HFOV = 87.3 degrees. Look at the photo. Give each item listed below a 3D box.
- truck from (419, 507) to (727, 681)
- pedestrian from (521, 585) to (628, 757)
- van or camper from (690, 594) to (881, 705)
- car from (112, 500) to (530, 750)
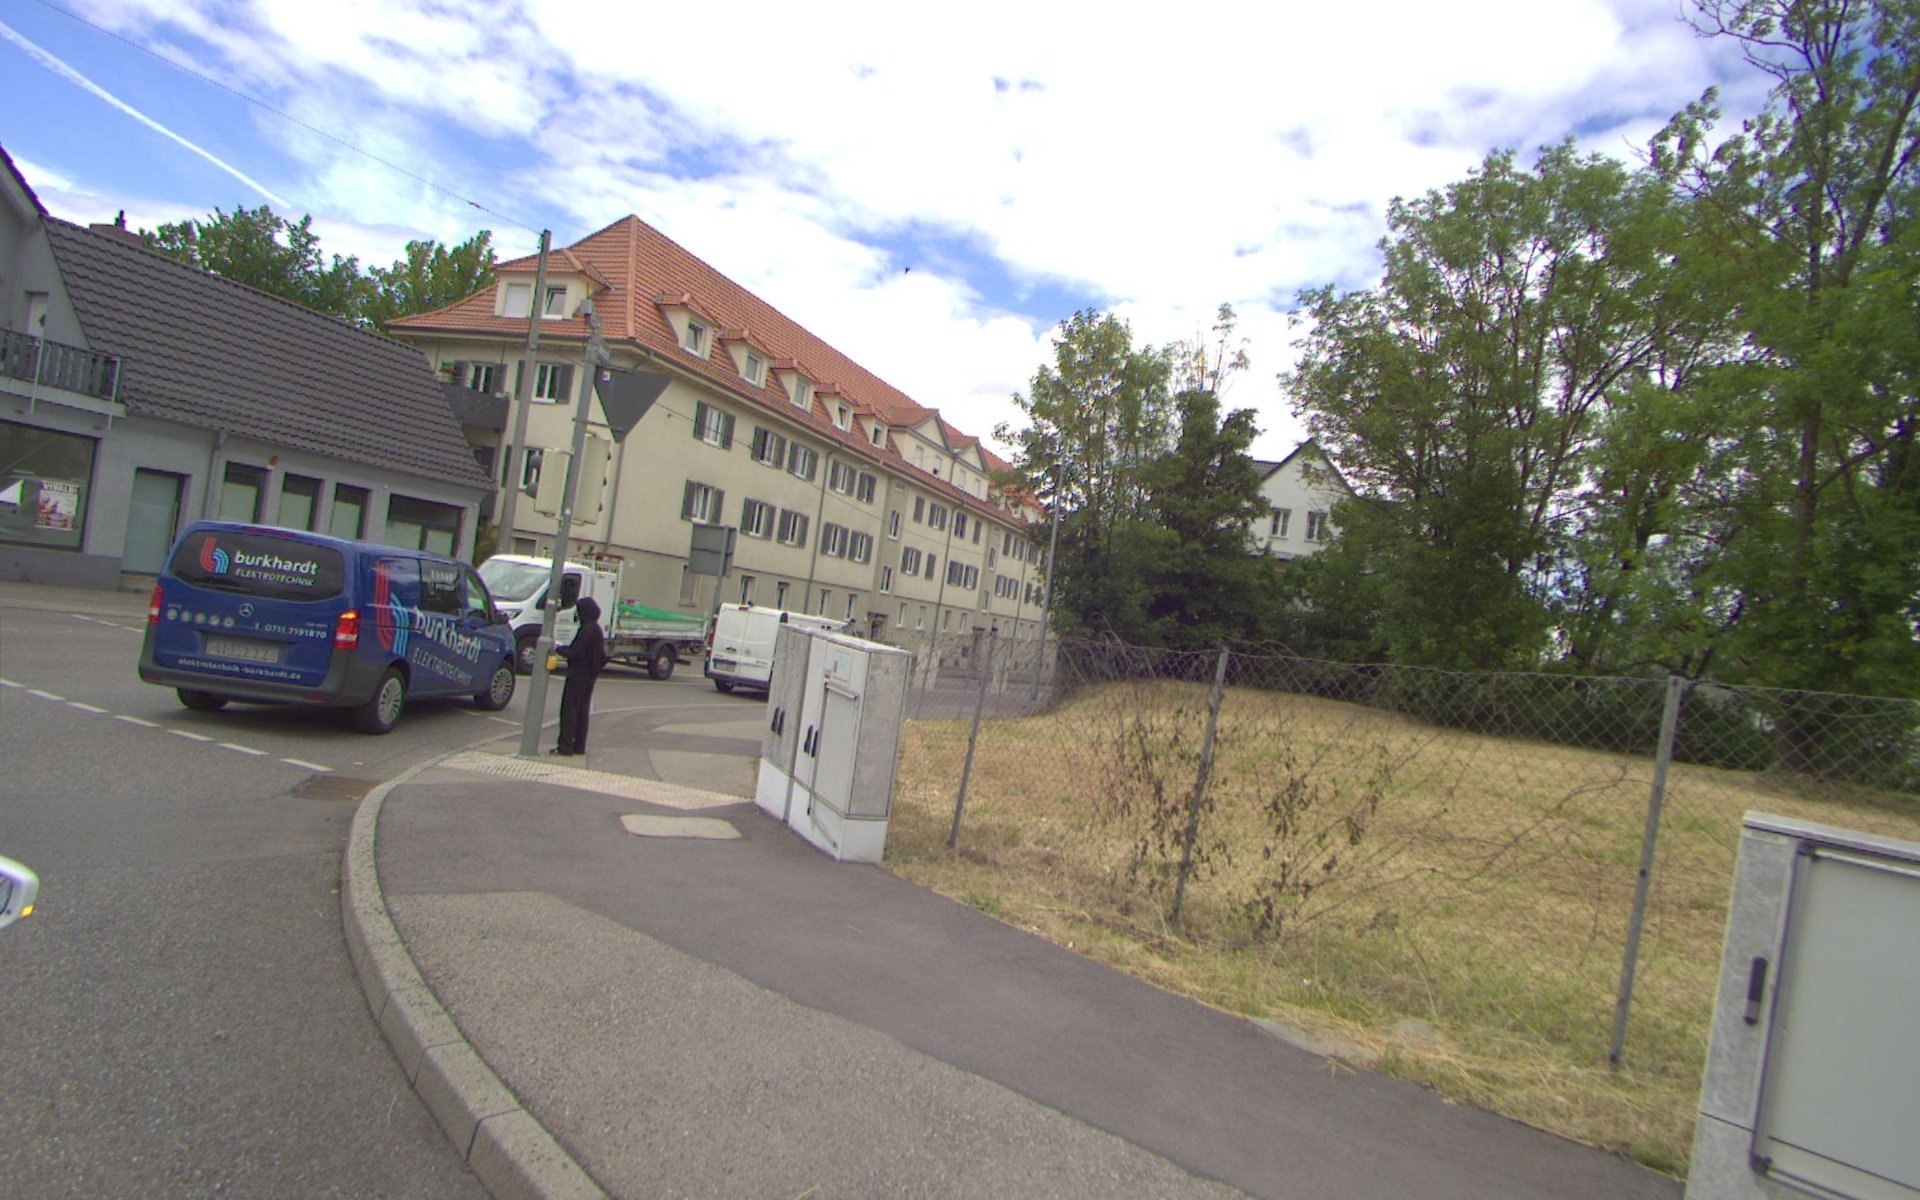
[{"bbox_3d":[-7.677,0.105,21.048,1.963,2.729,6.417,6,-4,21],"label":"truck"},{"bbox_3d":[-3.840,0.708,10.047,0.598,1.615,0.607,4,-2,20],"label":"pedestrian"},{"bbox_3d":[-3.865,1.260,23.459,1.963,2.035,5.104,9,-3,19],"label":"van or camper"},{"bbox_3d":[-6.625,0.295,11.206,1.920,1.988,4.540,7,-2,-6],"label":"car"}]
